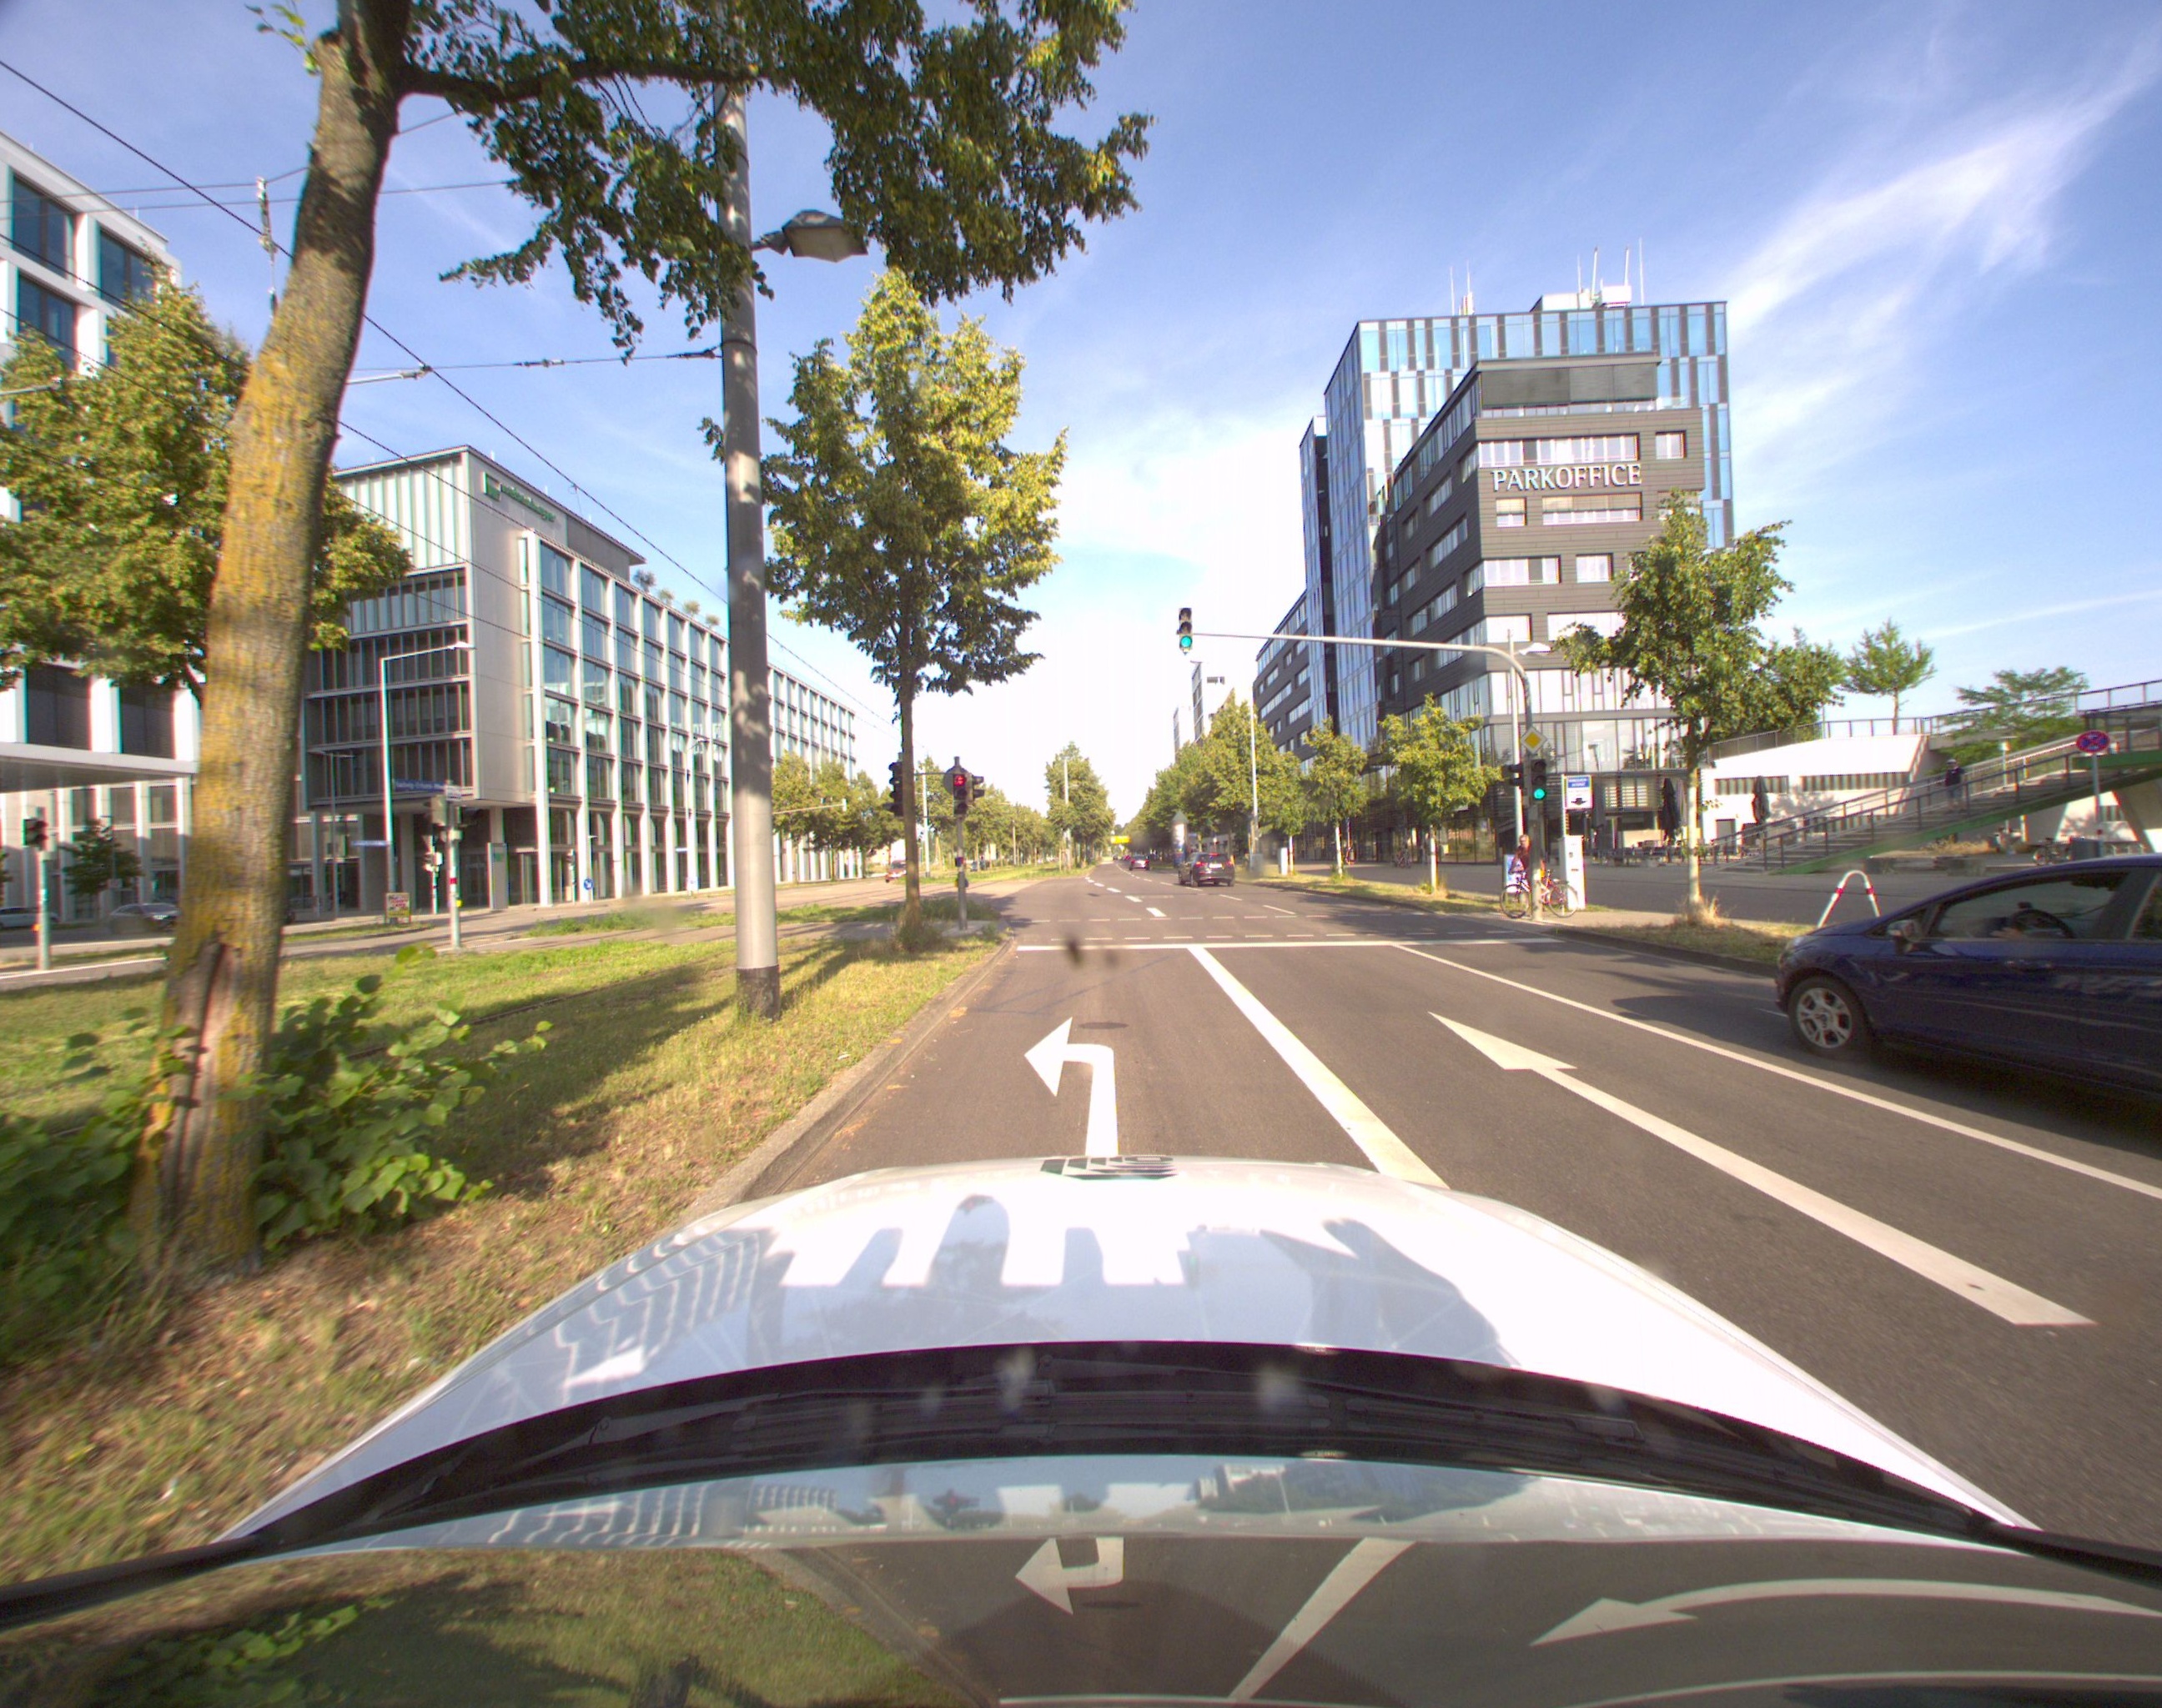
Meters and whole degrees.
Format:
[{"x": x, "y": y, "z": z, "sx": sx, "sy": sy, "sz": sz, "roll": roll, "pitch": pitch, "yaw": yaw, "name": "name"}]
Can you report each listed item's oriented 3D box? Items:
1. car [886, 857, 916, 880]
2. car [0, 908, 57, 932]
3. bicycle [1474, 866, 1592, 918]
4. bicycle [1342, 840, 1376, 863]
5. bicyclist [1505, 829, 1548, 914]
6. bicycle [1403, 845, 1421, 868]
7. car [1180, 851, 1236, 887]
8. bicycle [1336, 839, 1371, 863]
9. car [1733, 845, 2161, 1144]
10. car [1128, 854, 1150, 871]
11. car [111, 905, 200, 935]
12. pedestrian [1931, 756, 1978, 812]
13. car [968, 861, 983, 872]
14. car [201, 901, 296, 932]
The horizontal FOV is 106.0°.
[{"x": -14.361, "y": 1.156, "z": 65.095, "sx": 1.679, "sy": 1.775, "sz": 3.879, "roll": 0, "pitch": -1, "yaw": -2, "name": "car"}, {"x": -72.485, "y": 4.498, "z": 55.141, "sx": 1.512, "sy": 1.399, "sz": 3.612, "roll": -1, "pitch": -1, "yaw": 17, "name": "car"}, {"x": 9.255, "y": 0.768, "z": 16.717, "sx": 2.129, "sy": 1.013, "sz": 0.571, "roll": 0, "pitch": -1, "yaw": -3, "name": "bicycle"}, {"x": 21.436, "y": -0.207, "z": 62.883, "sx": 2.419, "sy": 1.746, "sz": 0.556, "roll": -1, "pitch": -1, "yaw": 11, "name": "bicycle"}, {"x": 9.139, "y": 0.361, "z": 16.714, "sx": 0.573, "sy": 1.707, "sz": 0.540, "roll": 0, "pitch": -1, "yaw": -2, "name": "bicyclist"}, {"x": 20.069, "y": 0.159, "z": 49.375, "sx": 0.371, "sy": 1.346, "sz": 1.895, "roll": -1, "pitch": -1, "yaw": 2, "name": "bicycle"}, {"x": 5.347, "y": 0.619, "z": 34.732, "sx": 1.769, "sy": 1.424, "sz": 3.959, "roll": 0, "pitch": -1, "yaw": -1, "name": "car"}, {"x": 21.442, "y": -0.199, "z": 64.053, "sx": 2.548, "sy": 1.857, "sz": 0.571, "roll": -1, "pitch": -1, "yaw": 11, "name": "bicycle"}, {"x": 5.944, "y": 0.662, "z": 4.536, "sx": 1.554, "sy": 1.424, "sz": 3.908, "roll": 0, "pitch": 0, "yaw": 1, "name": "car"}, {"x": 5.324, "y": 0.748, "z": 74.892, "sx": 1.852, "sy": 1.524, "sz": 3.787, "roll": -1, "pitch": -1, "yaw": 2, "name": "car"}, {"x": -47.571, "y": 3.370, "z": 41.874, "sx": 3.638, "sy": 1.424, "sz": 1.582, "roll": -1, "pitch": -1, "yaw": 16, "name": "car"}, {"x": 28.058, "y": -2.239, "z": 26.168, "sx": 0.688, "sy": 1.692, "sz": 0.790, "roll": -1, "pitch": -1, "yaw": 15, "name": "pedestrian"}, {"x": -14.691, "y": 1.765, "z": 113.739, "sx": 1.634, "sy": 1.443, "sz": 3.953, "roll": 0, "pitch": -1, "yaw": -2, "name": "car"}, {"x": -40.864, "y": 3.056, "z": 40.011, "sx": 3.478, "sy": 1.424, "sz": 1.580, "roll": -1, "pitch": -1, "yaw": 11, "name": "car"}]
